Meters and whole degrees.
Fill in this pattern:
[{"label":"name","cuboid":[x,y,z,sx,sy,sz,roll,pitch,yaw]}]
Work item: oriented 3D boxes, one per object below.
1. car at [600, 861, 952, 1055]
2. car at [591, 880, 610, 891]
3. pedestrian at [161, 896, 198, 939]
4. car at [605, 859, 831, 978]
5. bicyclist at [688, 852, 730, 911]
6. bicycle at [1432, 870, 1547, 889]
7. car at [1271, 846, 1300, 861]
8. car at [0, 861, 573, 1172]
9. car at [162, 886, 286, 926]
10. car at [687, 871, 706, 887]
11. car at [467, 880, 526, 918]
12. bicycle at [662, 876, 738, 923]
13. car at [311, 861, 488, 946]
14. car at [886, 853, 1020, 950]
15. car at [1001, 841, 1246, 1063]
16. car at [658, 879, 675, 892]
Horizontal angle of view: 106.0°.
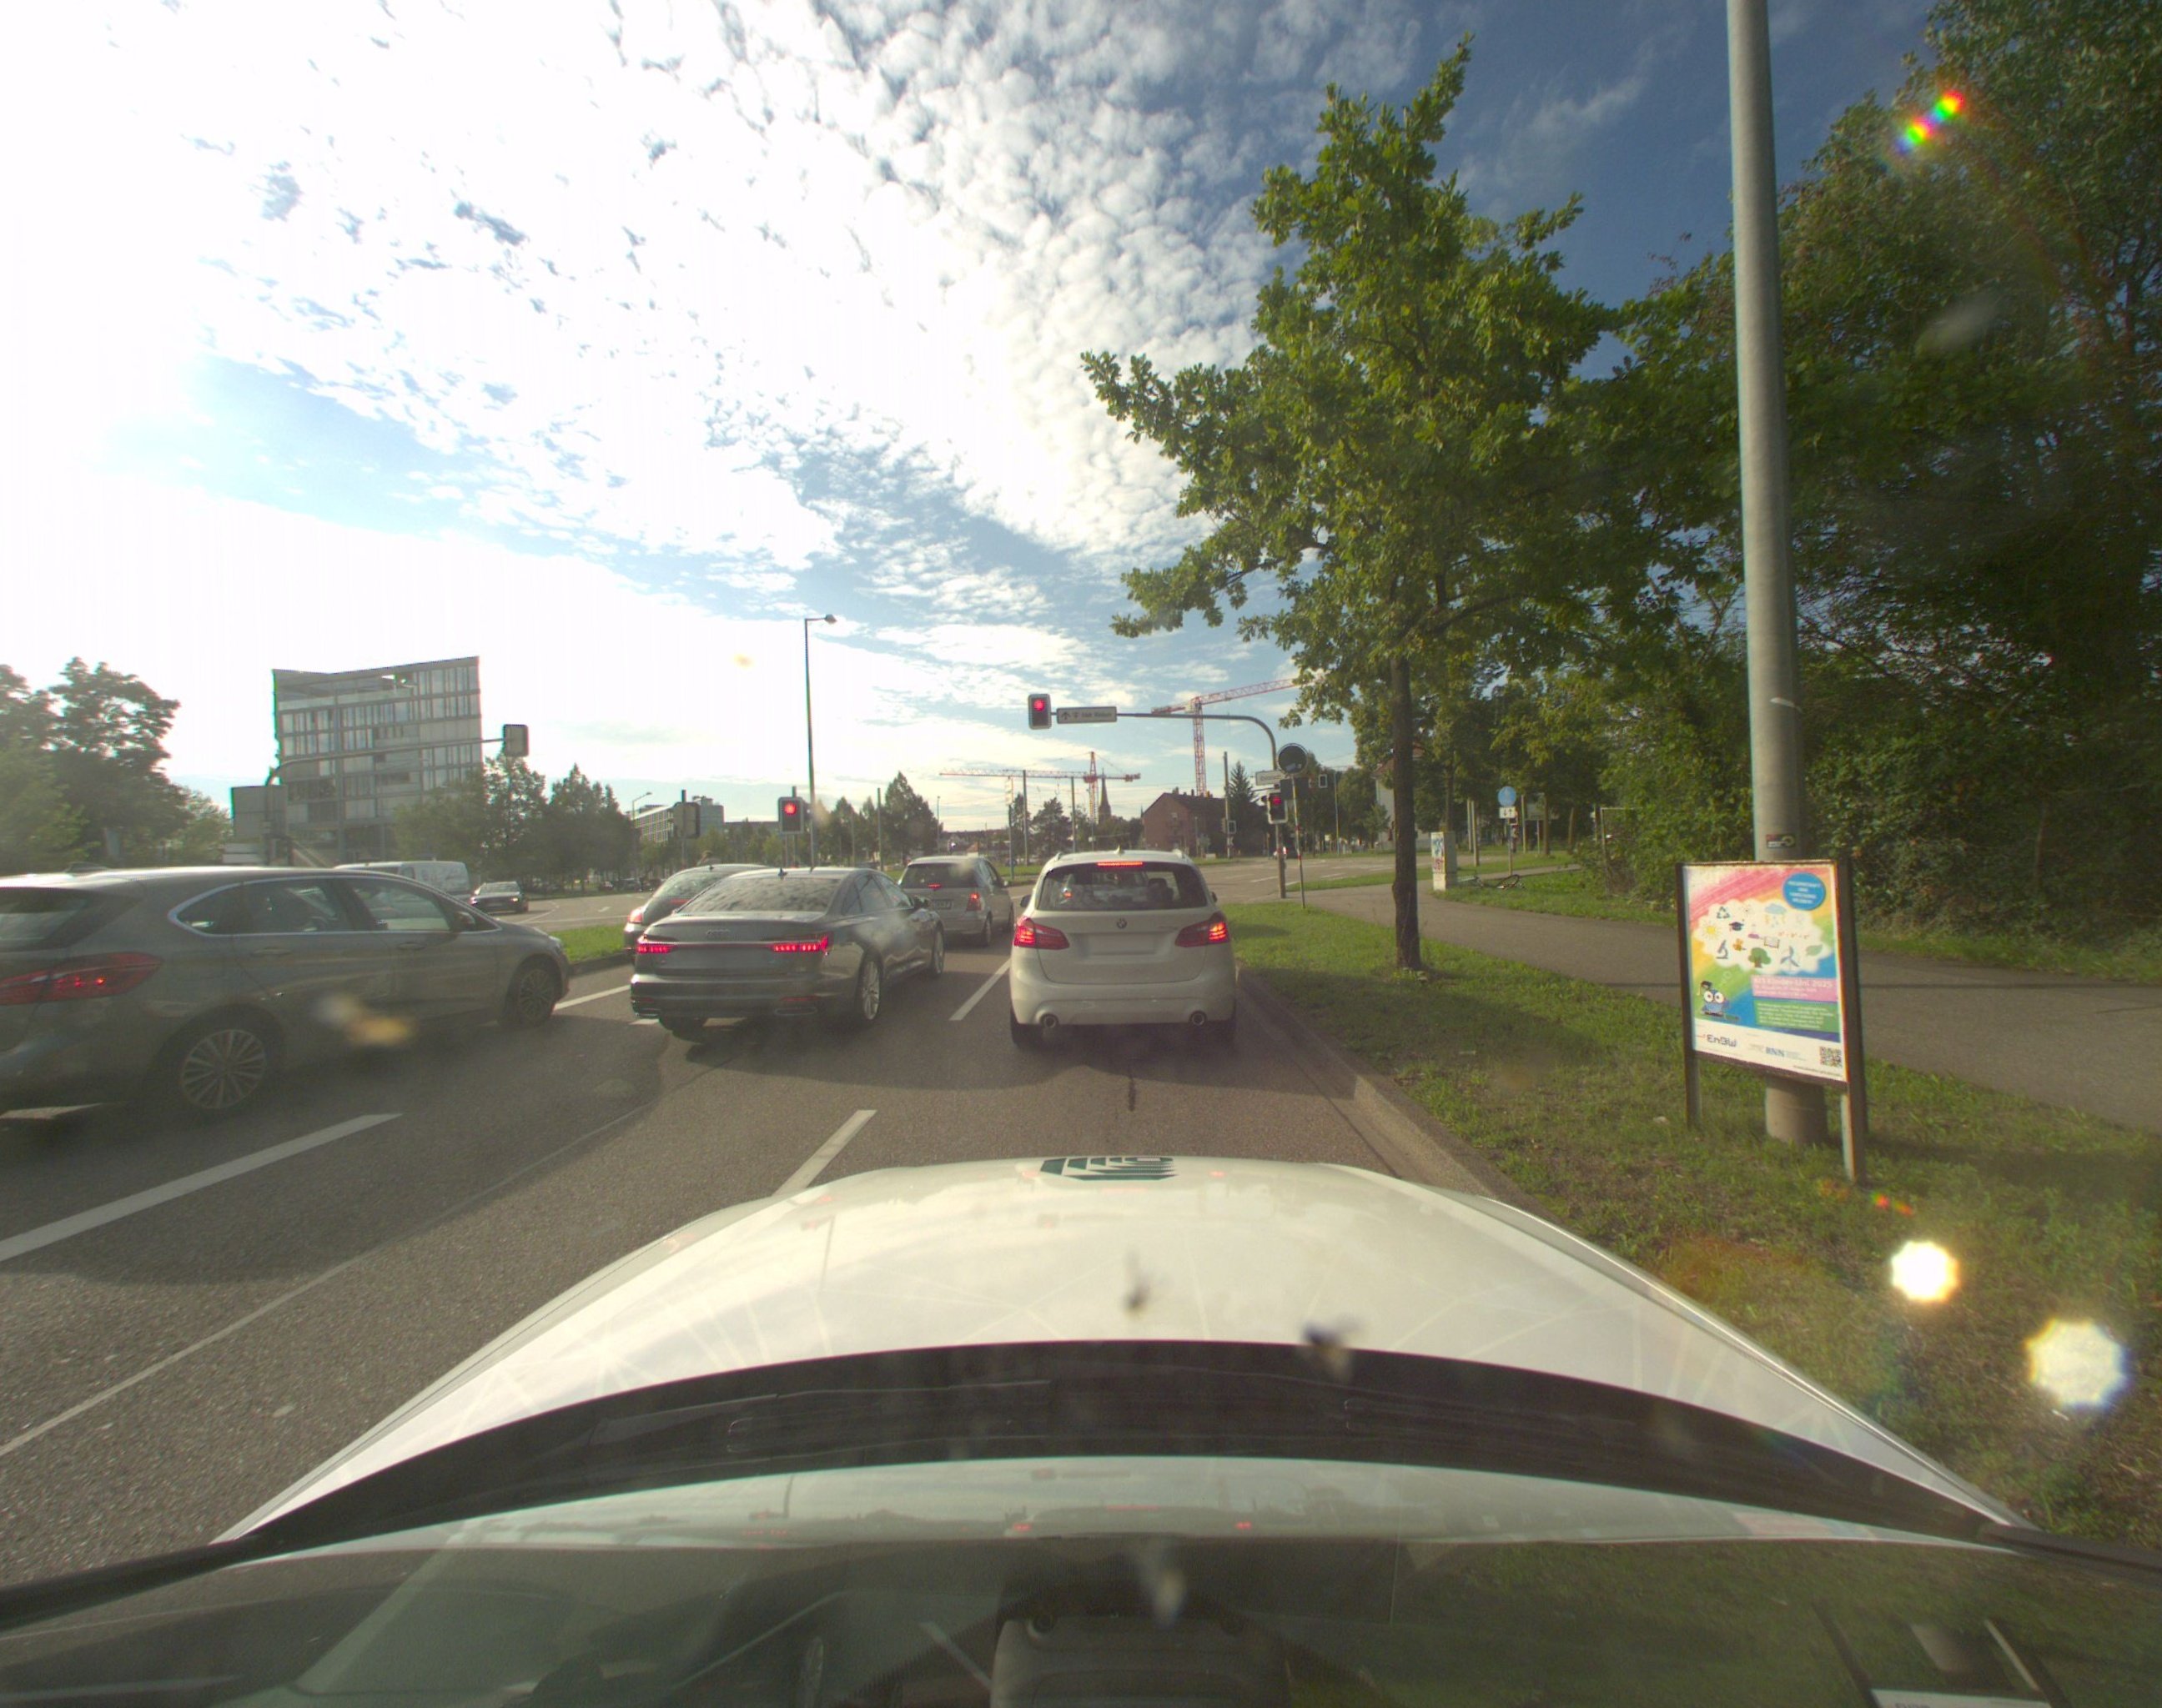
[{"label":"car","cuboid":[-2.757,0.835,8.683,1.883,1.483,4.614,-1,-1,2]},{"label":"car","cuboid":[-75.078,4.921,127.297,1.723,1.691,3.951,-2,-1,-42]},{"label":"pedestrian","cuboid":[-34.074,2.398,30.779,0.654,1.569,0.614,-2,-1,-5]},{"label":"car","cuboid":[-5.325,0.852,12.533,1.674,1.523,3.811,-1,0,1]},{"label":"bicyclist","cuboid":[-10.083,0.735,22.077,0.850,1.526,0.737,-3,-1,-15]},{"label":"bicycle","cuboid":[10.459,0.642,20.998,1.407,0.385,2.568,-3,0,-9]},{"label":"car","cuboid":[22.959,-0.040,91.628,1.575,1.574,3.176,-3,0,-20]},{"label":"car","cuboid":[-6.034,0.857,6.160,1.722,1.558,4.021,-1,0,2]},{"label":"car","cuboid":[-42.241,2.531,40.294,4.020,1.770,1.691,1,-2,-40]},{"label":"car","cuboid":[-39.895,2.544,84.454,1.715,1.574,3.965,-2,0,-26]},{"label":"car","cuboid":[-25.450,1.923,35.493,1.923,1.433,4.181,-3,0,-35]},{"label":"bicycle","cuboid":[-10.266,1.217,22.015,1.728,1.163,0.652,-2,-1,-15]},{"label":"car","cuboid":[-21.310,1.447,25.861,1.998,2.235,5.891,-4,0,-16]},{"label":"car","cuboid":[-2.248,0.779,15.378,1.722,1.558,4.060,-1,0,2]},{"label":"car","cuboid":[0.363,0.703,7.854,1.723,1.558,4.059,-1,0,2]},{"label":"car","cuboid":[-48.579,3.643,95.437,1.600,1.415,3.639,-3,0,-26]}]
